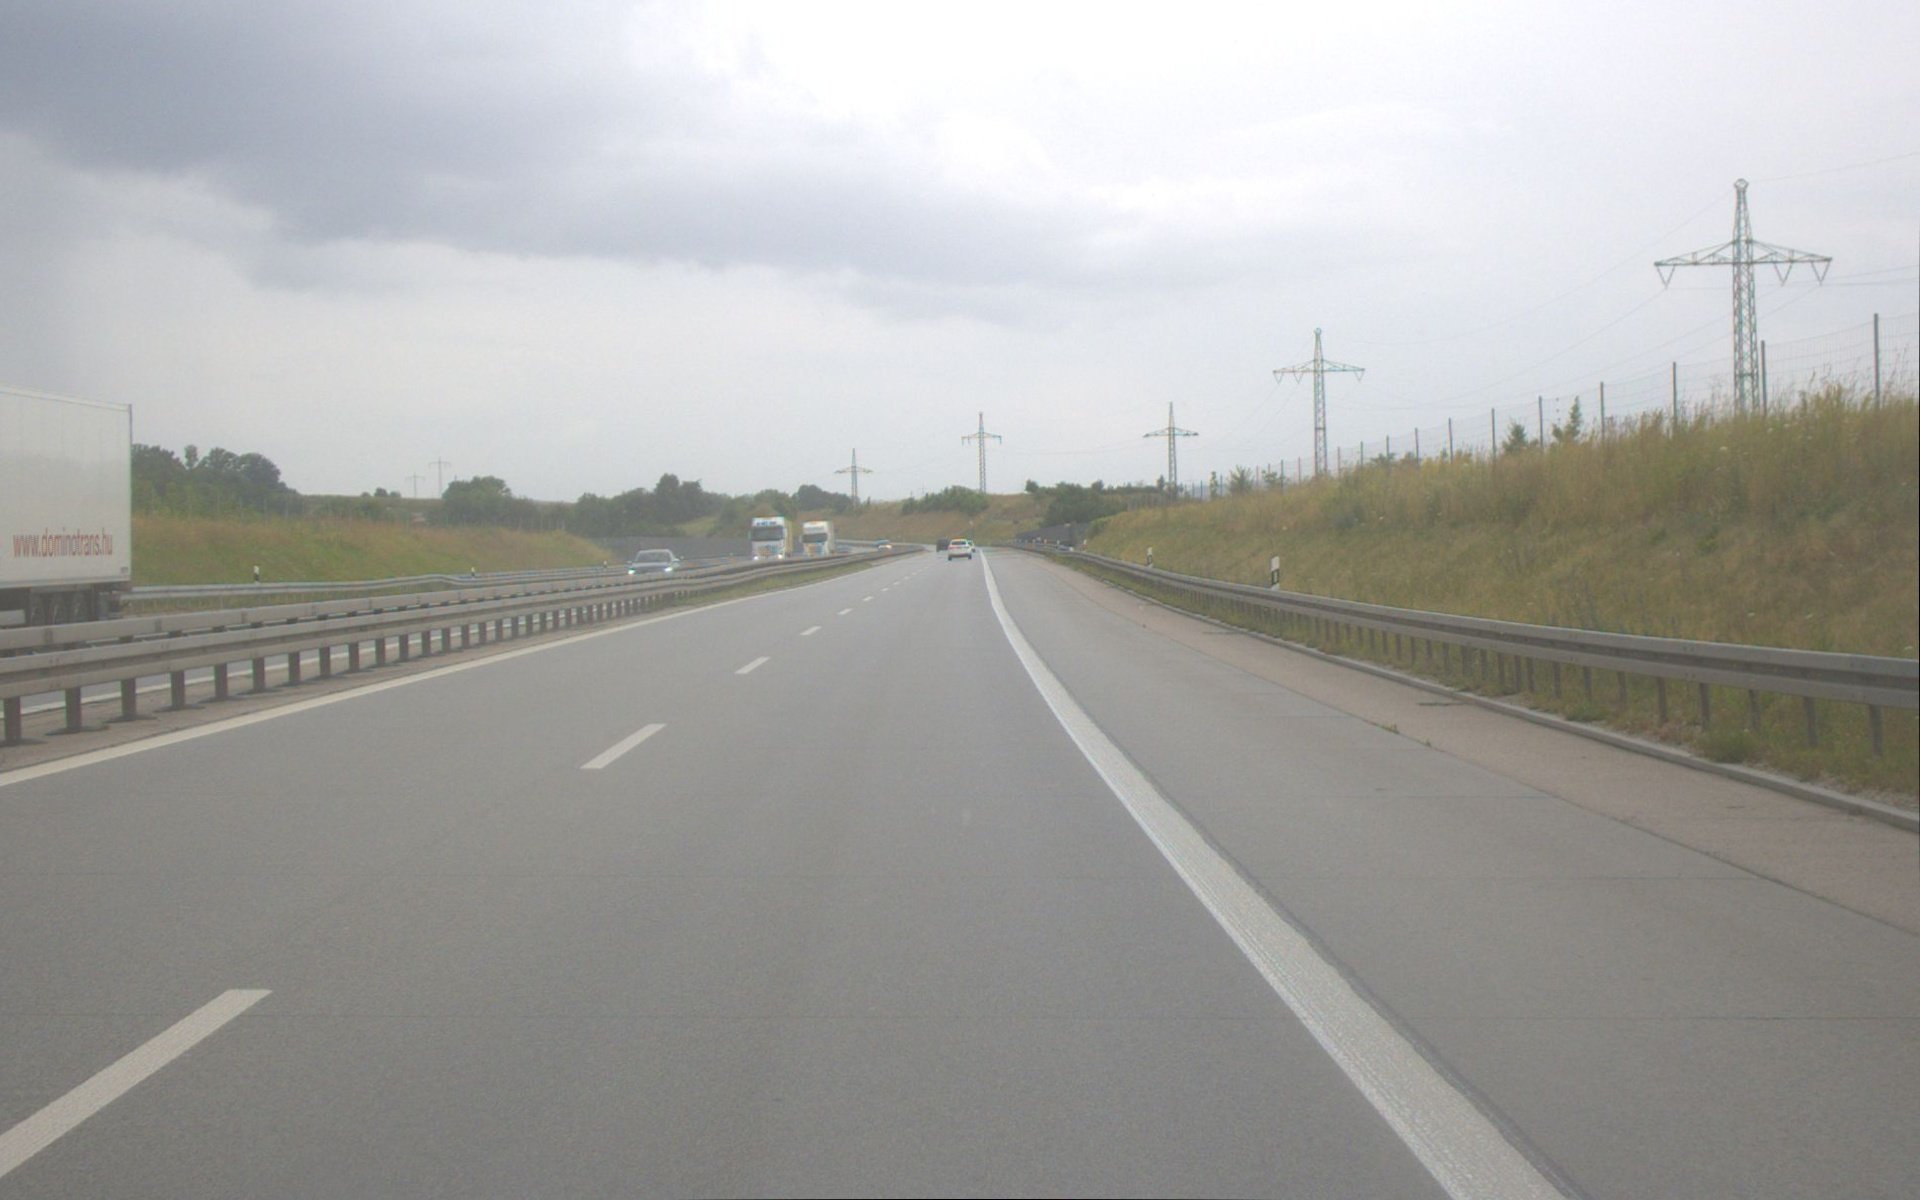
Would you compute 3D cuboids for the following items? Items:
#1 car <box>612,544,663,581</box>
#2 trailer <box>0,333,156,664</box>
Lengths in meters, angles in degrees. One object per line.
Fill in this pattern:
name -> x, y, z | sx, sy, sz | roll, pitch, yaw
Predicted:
car -> -12.685, -1.485, 135.294 | 1.763, 1.419, 4.001 | -1, 1, -2
trailer -> -14.857, -1.449, 50.307 | 2.795, 4.634, 14.848 | -1, 1, -1
